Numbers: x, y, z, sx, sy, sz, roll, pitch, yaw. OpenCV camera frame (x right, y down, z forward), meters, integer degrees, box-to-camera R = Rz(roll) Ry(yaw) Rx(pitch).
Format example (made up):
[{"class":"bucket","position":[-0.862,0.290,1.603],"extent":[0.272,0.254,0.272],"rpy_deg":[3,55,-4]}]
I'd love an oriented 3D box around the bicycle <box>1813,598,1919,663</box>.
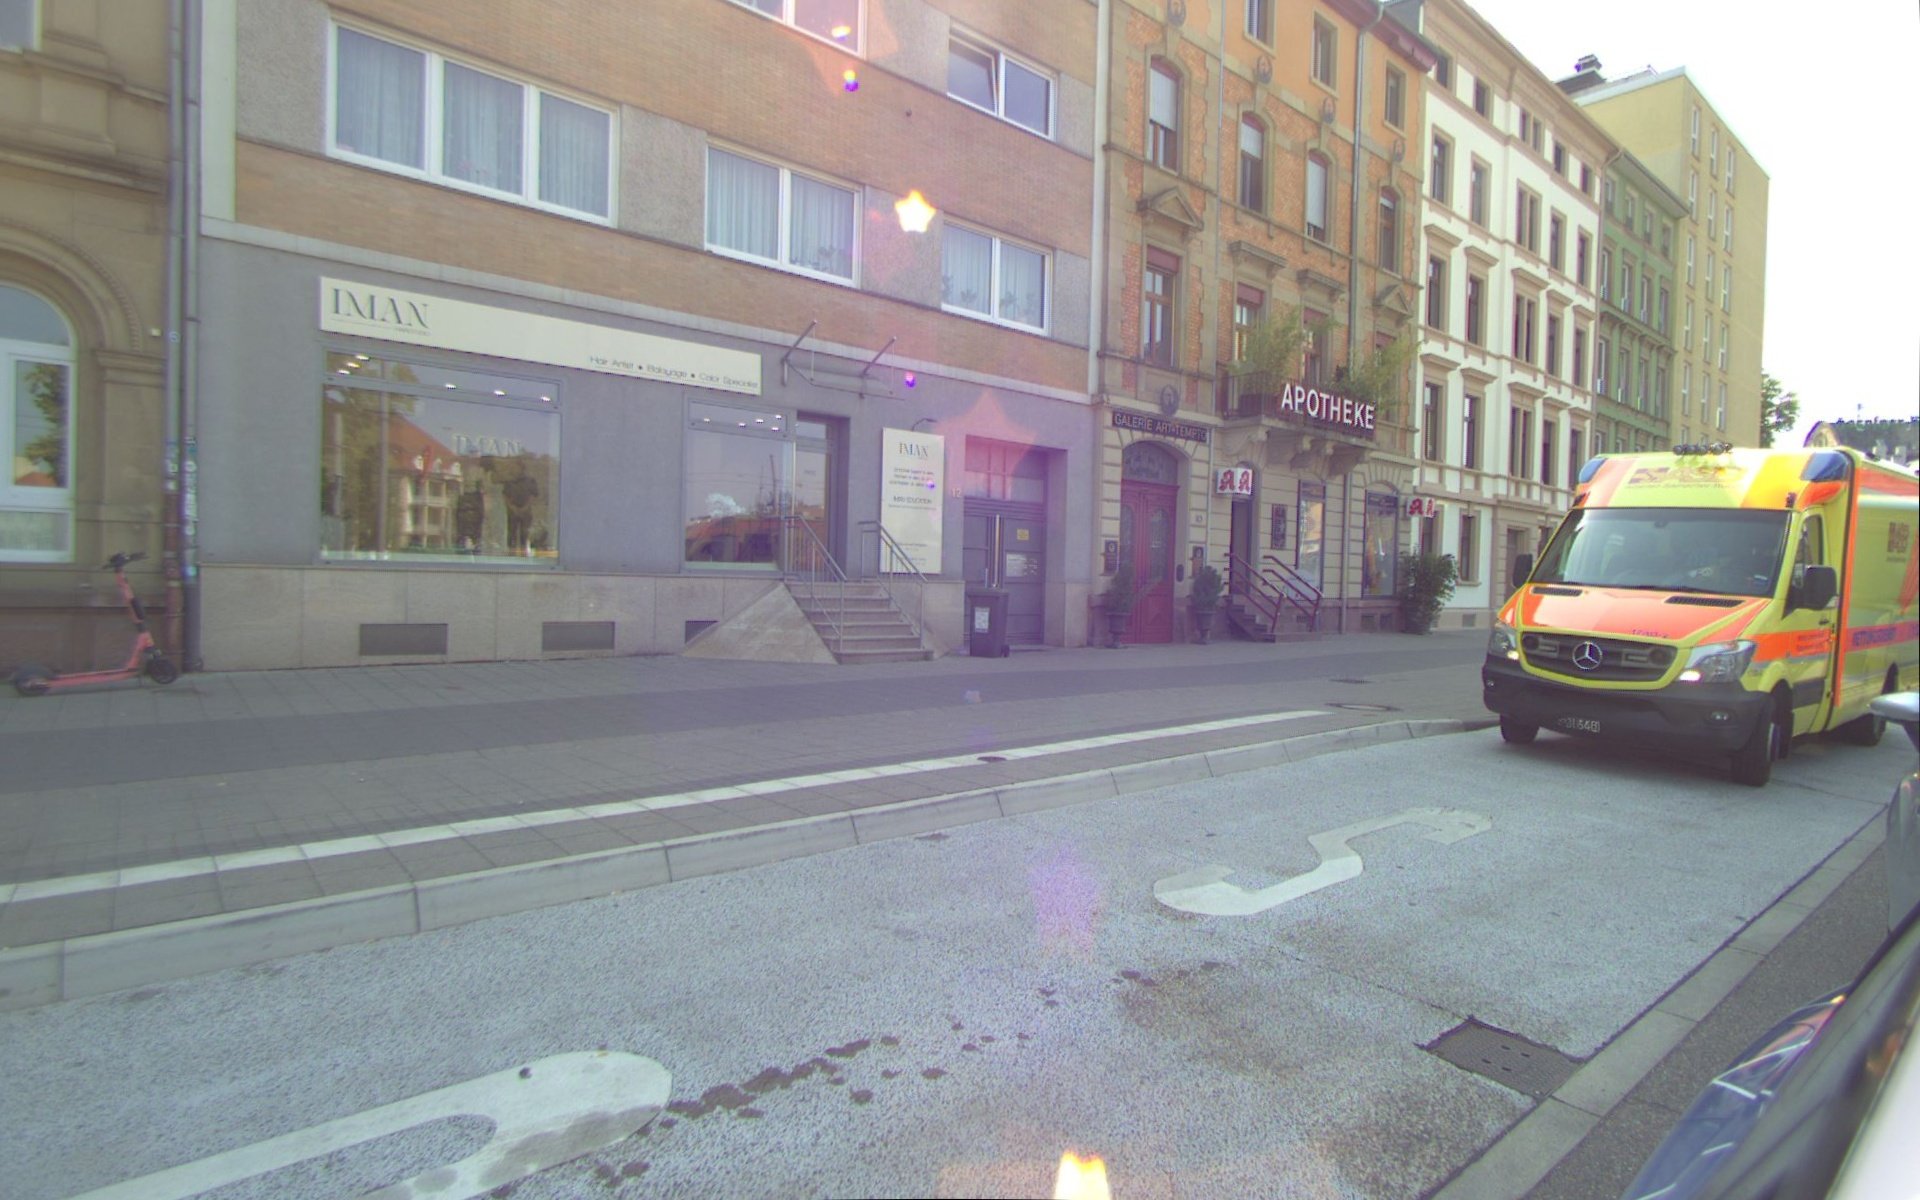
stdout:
[{"class":"bicycle","position":[17.972,0.576,19.861],"extent":[0.427,1.219,1.841],"rpy_deg":[1,0,-39]}]

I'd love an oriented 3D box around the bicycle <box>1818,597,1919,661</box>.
[{"class":"bicycle","position":[18.309,0.563,20.127],"extent":[0.427,1.219,1.841],"rpy_deg":[1,0,-39]}]

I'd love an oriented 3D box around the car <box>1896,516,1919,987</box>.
[{"class":"car","position":[5.295,0.535,4.108],"extent":[3.929,1.608,1.728],"rpy_deg":[0,1,-40]}]

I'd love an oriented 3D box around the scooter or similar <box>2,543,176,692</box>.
[{"class":"scooter or similar","position":[-7.651,0.132,8.913],"extent":[0.476,1.227,1.124],"rpy_deg":[3,2,44]}]

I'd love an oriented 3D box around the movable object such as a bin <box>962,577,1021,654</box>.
[{"class":"movable object such as a bin","position":[0.490,0.227,15.663],"extent":[0.640,1.118,0.723],"rpy_deg":[3,2,24]}]

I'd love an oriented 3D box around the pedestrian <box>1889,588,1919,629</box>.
[{"class":"pedestrian","position":[42.358,0.371,45.313],"extent":[0.783,1.780,0.688],"rpy_deg":[2,2,6]}]

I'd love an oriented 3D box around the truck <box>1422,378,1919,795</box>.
[{"class":"truck","position":[7.213,-0.167,9.628],"extent":[6.221,2.803,2.336],"rpy_deg":[0,4,-37]}]
